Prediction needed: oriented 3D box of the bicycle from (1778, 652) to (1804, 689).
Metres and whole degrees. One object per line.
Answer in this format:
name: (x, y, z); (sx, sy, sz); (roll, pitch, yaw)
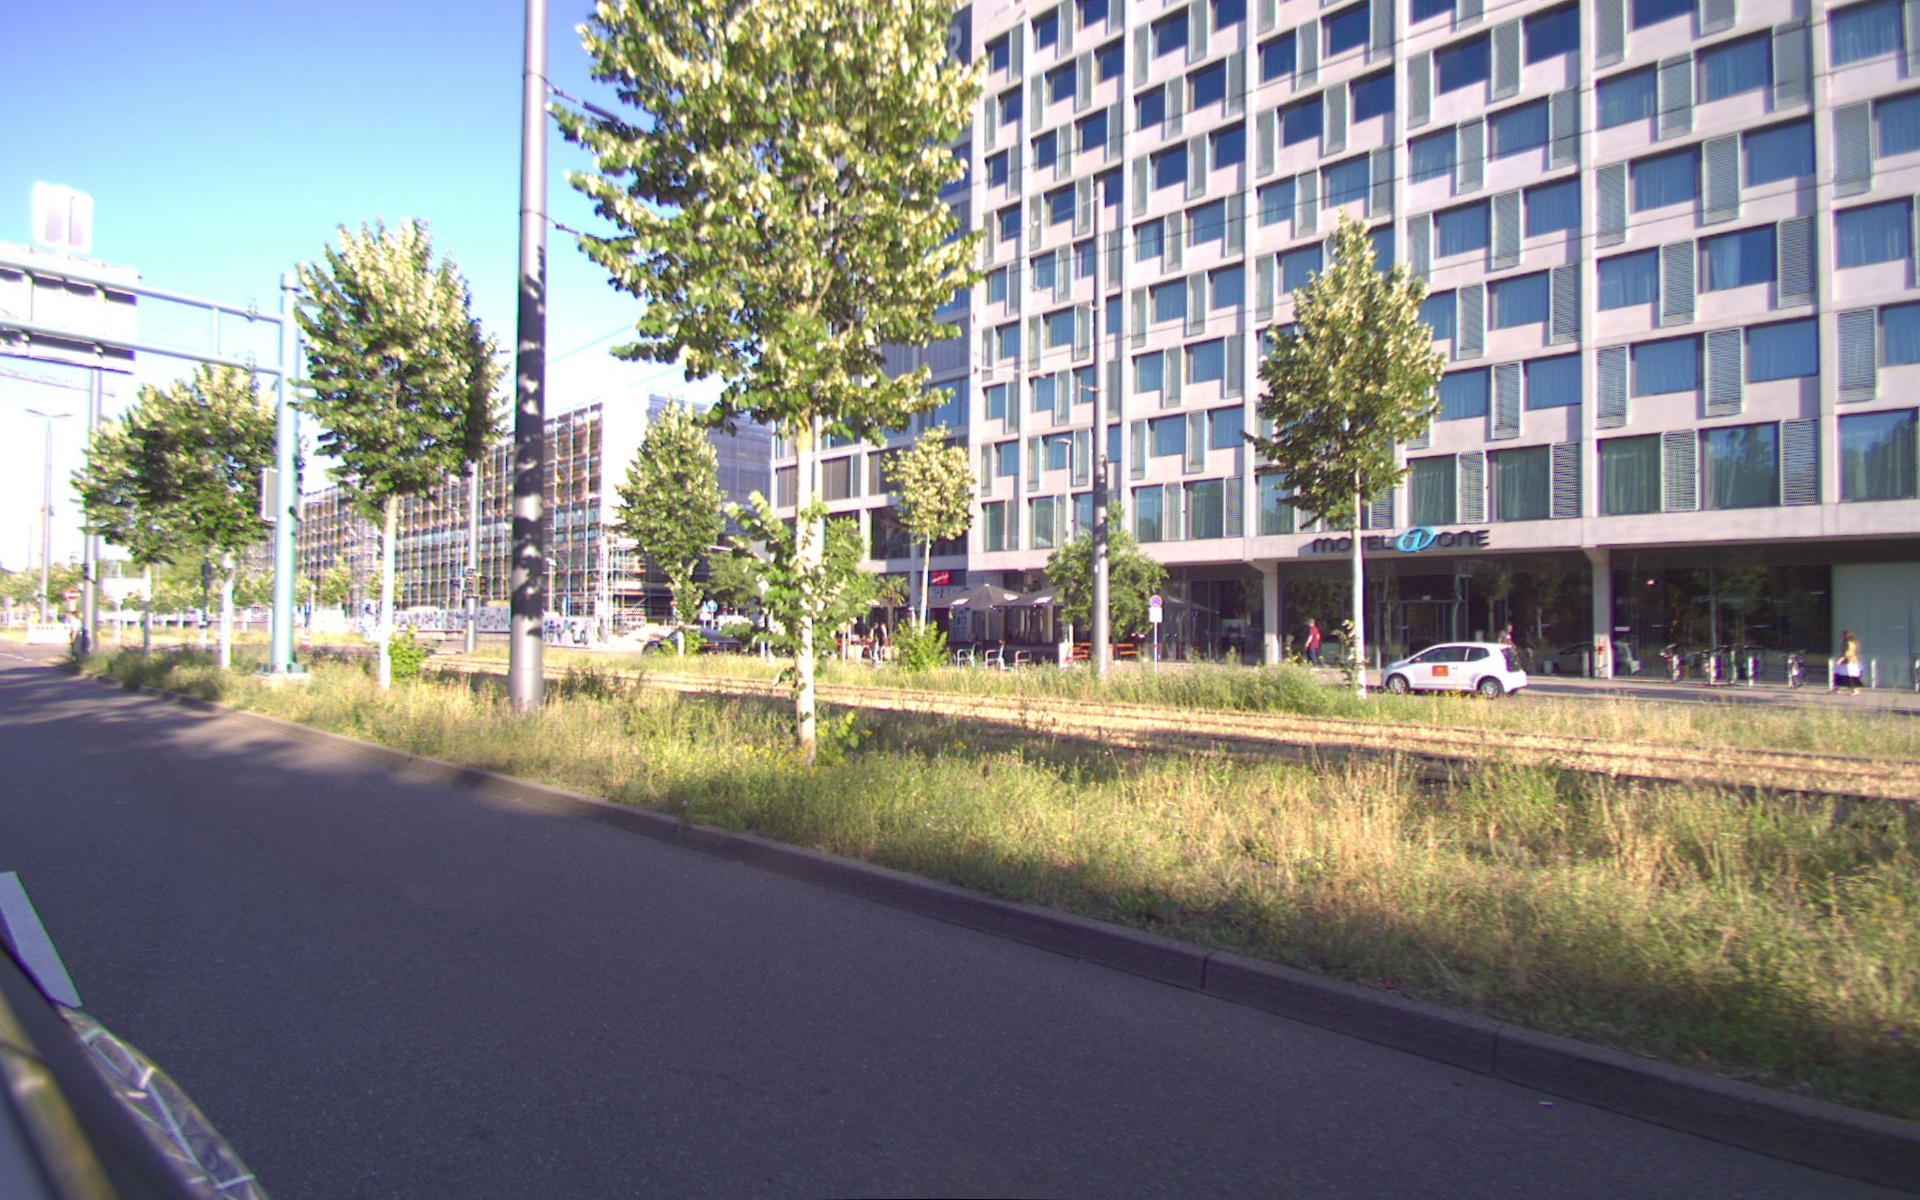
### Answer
bicycle: (23.686, 1.997, 28.842); (0.483, 0.974, 1.733); (-1, -1, 42)

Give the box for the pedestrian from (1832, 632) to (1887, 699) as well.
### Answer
pedestrian: (23.024, 1.666, 25.906); (0.970, 1.666, 0.834); (-2, -3, 44)

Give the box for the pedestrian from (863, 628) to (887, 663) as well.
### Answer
pedestrian: (-4.199, 2.233, 49.948); (0.858, 1.735, 0.805); (2, -2, -38)

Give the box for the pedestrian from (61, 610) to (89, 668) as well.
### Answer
pedestrian: (-26.821, 1.177, 30.677); (0.591, 1.712, 0.715); (2, -3, -42)

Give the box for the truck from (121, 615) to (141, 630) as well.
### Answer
truck: (-148.979, 4.098, 181.855); (4.742, 2.593, 2.114); (-2, -3, 45)

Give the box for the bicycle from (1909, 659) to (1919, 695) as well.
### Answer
bicycle: (25.355, 2.001, 26.448); (1.780, 0.912, 0.513); (2, -2, -37)

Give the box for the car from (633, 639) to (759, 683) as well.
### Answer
car: (-9.160, 2.051, 34.889); (4.850, 1.354, 1.870); (-1, -3, 43)

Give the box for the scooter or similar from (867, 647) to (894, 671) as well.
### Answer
scooter or similar: (-3.513, 2.592, 44.723); (0.406, 1.014, 1.229); (-2, -3, 43)

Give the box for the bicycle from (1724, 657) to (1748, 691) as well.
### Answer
bicycle: (22.638, 2.147, 29.548); (0.511, 0.912, 1.787); (-1, -2, 36)

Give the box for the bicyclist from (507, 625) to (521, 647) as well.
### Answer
bicyclist: (-31.489, 2.541, 71.468); (0.617, 1.476, 0.852); (2, -3, -42)

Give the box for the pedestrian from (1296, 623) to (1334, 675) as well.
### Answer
pedestrian: (13.178, 1.809, 37.566); (0.956, 1.885, 0.981); (1, -2, -11)

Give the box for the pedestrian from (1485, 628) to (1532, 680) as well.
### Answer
pedestrian: (18.225, 1.772, 33.614); (0.963, 1.683, 1.061); (2, -2, -37)

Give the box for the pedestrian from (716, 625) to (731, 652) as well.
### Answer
pedestrian: (-13.524, 2.210, 57.870); (0.574, 1.510, 0.582); (-1, -2, 29)

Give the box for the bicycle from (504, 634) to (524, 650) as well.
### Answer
bicycle: (-31.498, 2.948, 71.475); (0.617, 1.075, 2.080); (2, -2, -42)

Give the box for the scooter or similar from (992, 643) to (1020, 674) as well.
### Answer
scooter or similar: (1.807, 2.266, 39.586); (0.406, 1.181, 1.229); (-2, -3, 43)

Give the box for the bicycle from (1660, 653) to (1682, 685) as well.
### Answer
bicycle: (21.599, 2.087, 30.729); (0.511, 0.912, 1.787); (-1, -2, 36)

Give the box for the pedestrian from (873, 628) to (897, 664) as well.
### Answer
pedestrian: (-3.672, 2.219, 49.348); (0.858, 1.735, 0.805); (2, -2, -38)

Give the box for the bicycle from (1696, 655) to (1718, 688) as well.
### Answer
bicycle: (22.083, 2.086, 29.931); (0.511, 0.912, 1.787); (-1, -2, 36)

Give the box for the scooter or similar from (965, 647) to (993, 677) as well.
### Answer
scooter or similar: (0.780, 2.464, 40.599); (0.406, 1.181, 1.229); (-2, -3, 43)

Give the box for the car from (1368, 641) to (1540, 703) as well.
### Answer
car: (13.602, 1.924, 27.978); (3.874, 1.503, 1.864); (-2, -2, 45)
